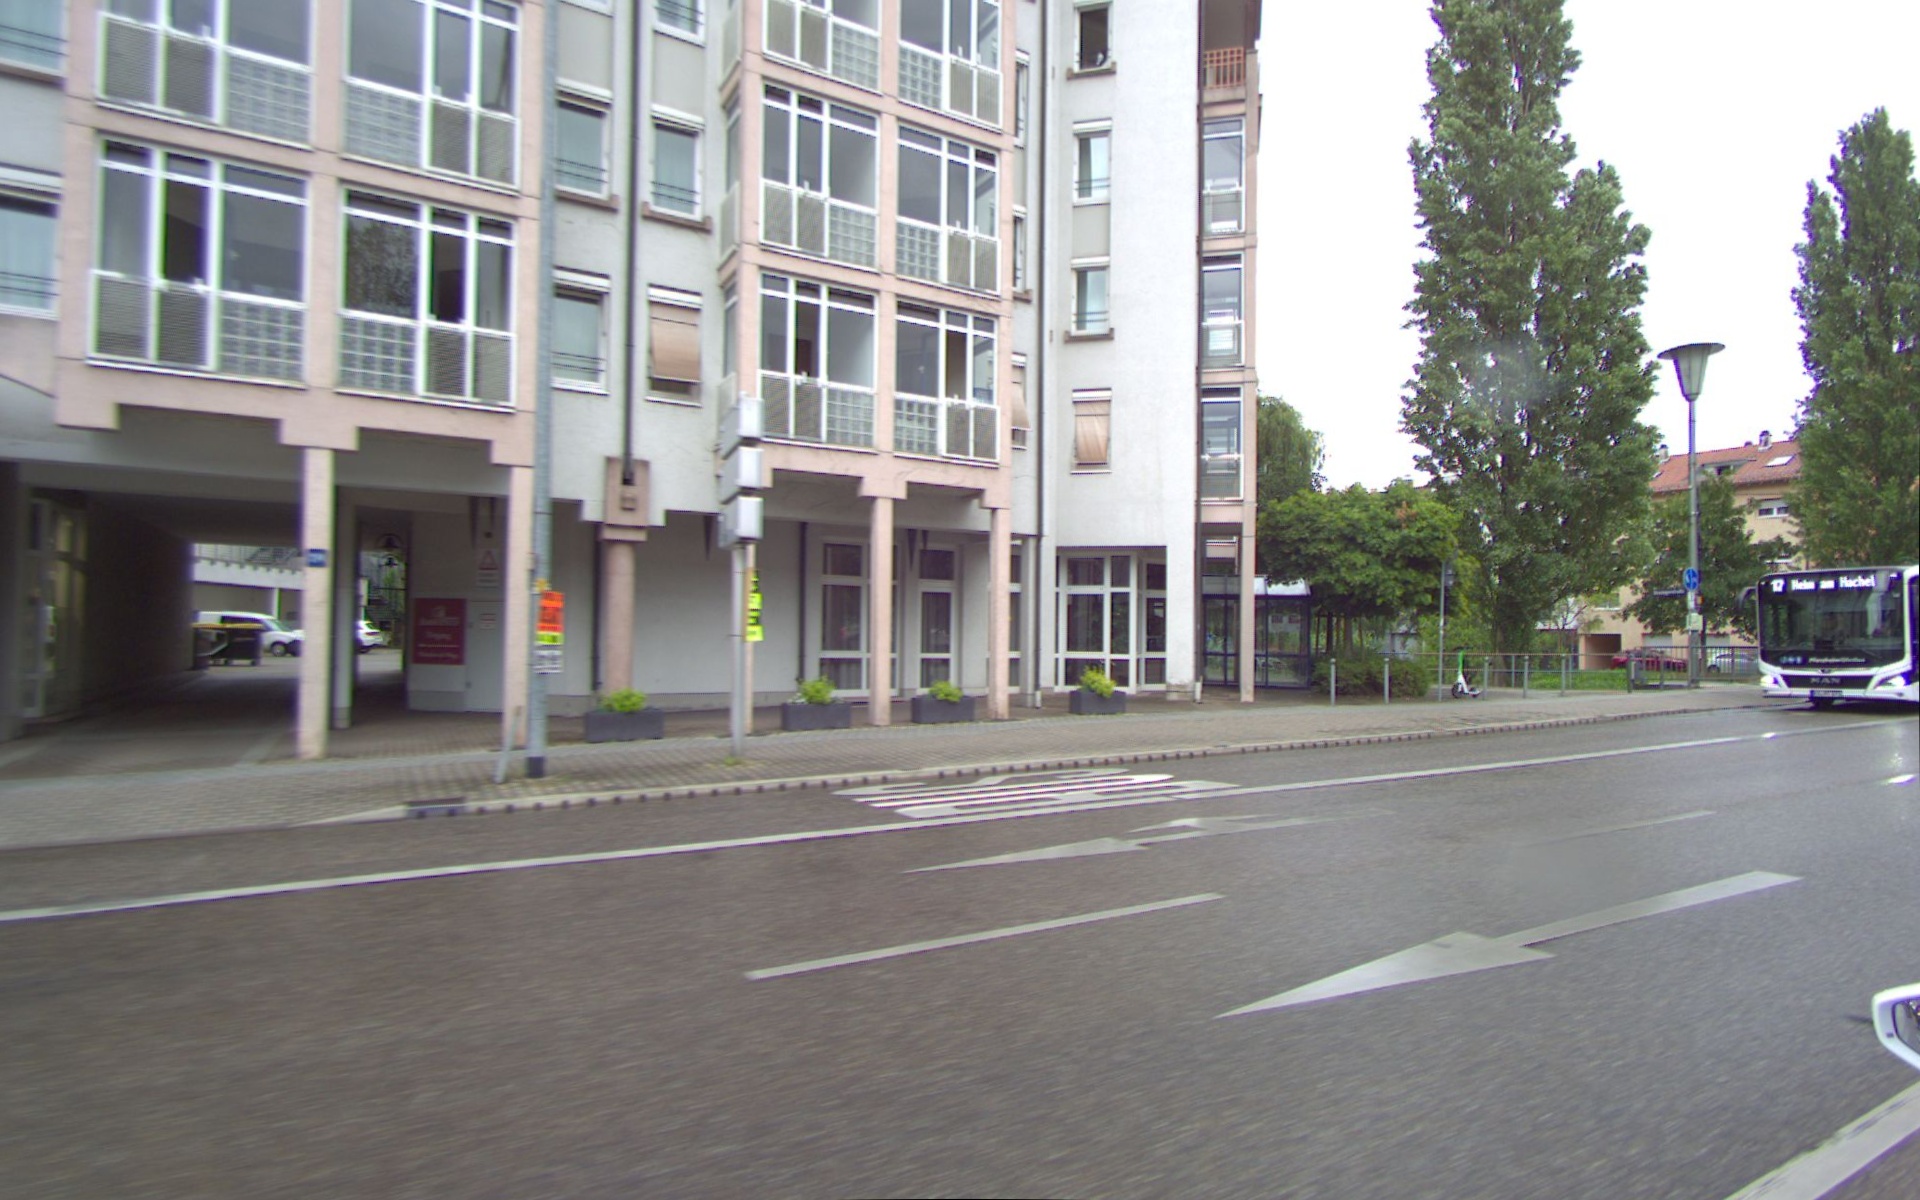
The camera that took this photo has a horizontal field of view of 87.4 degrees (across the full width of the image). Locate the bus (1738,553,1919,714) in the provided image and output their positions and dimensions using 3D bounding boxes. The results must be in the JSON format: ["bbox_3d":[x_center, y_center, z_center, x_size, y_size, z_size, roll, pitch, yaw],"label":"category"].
[{"bbox_3d":[22.823,0.679,23.639,12.089,3.116,2.732,0,-1,-30],"label":"bus"}]

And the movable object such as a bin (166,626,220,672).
[{"bbox_3d":[-24.163,1.547,31.651,1.230,1.373,1.592,2,-4,-41],"label":"movable object such as a bin"}]

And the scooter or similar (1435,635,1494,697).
[{"bbox_3d":[11.513,1.485,22.928,1.555,1.331,0.479,-1,-1,-34],"label":"scooter or similar"}]

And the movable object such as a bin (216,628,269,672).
[{"bbox_3d":[-23.218,1.623,32.484,1.230,1.373,1.592,2,-4,-41],"label":"movable object such as a bin"}]

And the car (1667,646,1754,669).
[{"bbox_3d":[47.113,3.599,63.142,1.876,1.406,3.971,2,-3,-28],"label":"car"}]

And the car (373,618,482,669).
[{"bbox_3d":[-22.477,1.851,42.542,3.949,2.040,1.856,1,-3,-27],"label":"car"}]

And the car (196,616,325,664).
[{"bbox_3d":[-30.428,1.747,43.803,4.163,2.040,1.865,0,-3,-11],"label":"car"}]

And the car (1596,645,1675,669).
[{"bbox_3d":[44.820,3.769,66.753,1.876,1.406,3.971,2,-2,-28],"label":"car"}]

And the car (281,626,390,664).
[{"bbox_3d":[-30.646,2.180,49.414,4.169,1.806,1.862,1,-1,-16],"label":"car"}]
